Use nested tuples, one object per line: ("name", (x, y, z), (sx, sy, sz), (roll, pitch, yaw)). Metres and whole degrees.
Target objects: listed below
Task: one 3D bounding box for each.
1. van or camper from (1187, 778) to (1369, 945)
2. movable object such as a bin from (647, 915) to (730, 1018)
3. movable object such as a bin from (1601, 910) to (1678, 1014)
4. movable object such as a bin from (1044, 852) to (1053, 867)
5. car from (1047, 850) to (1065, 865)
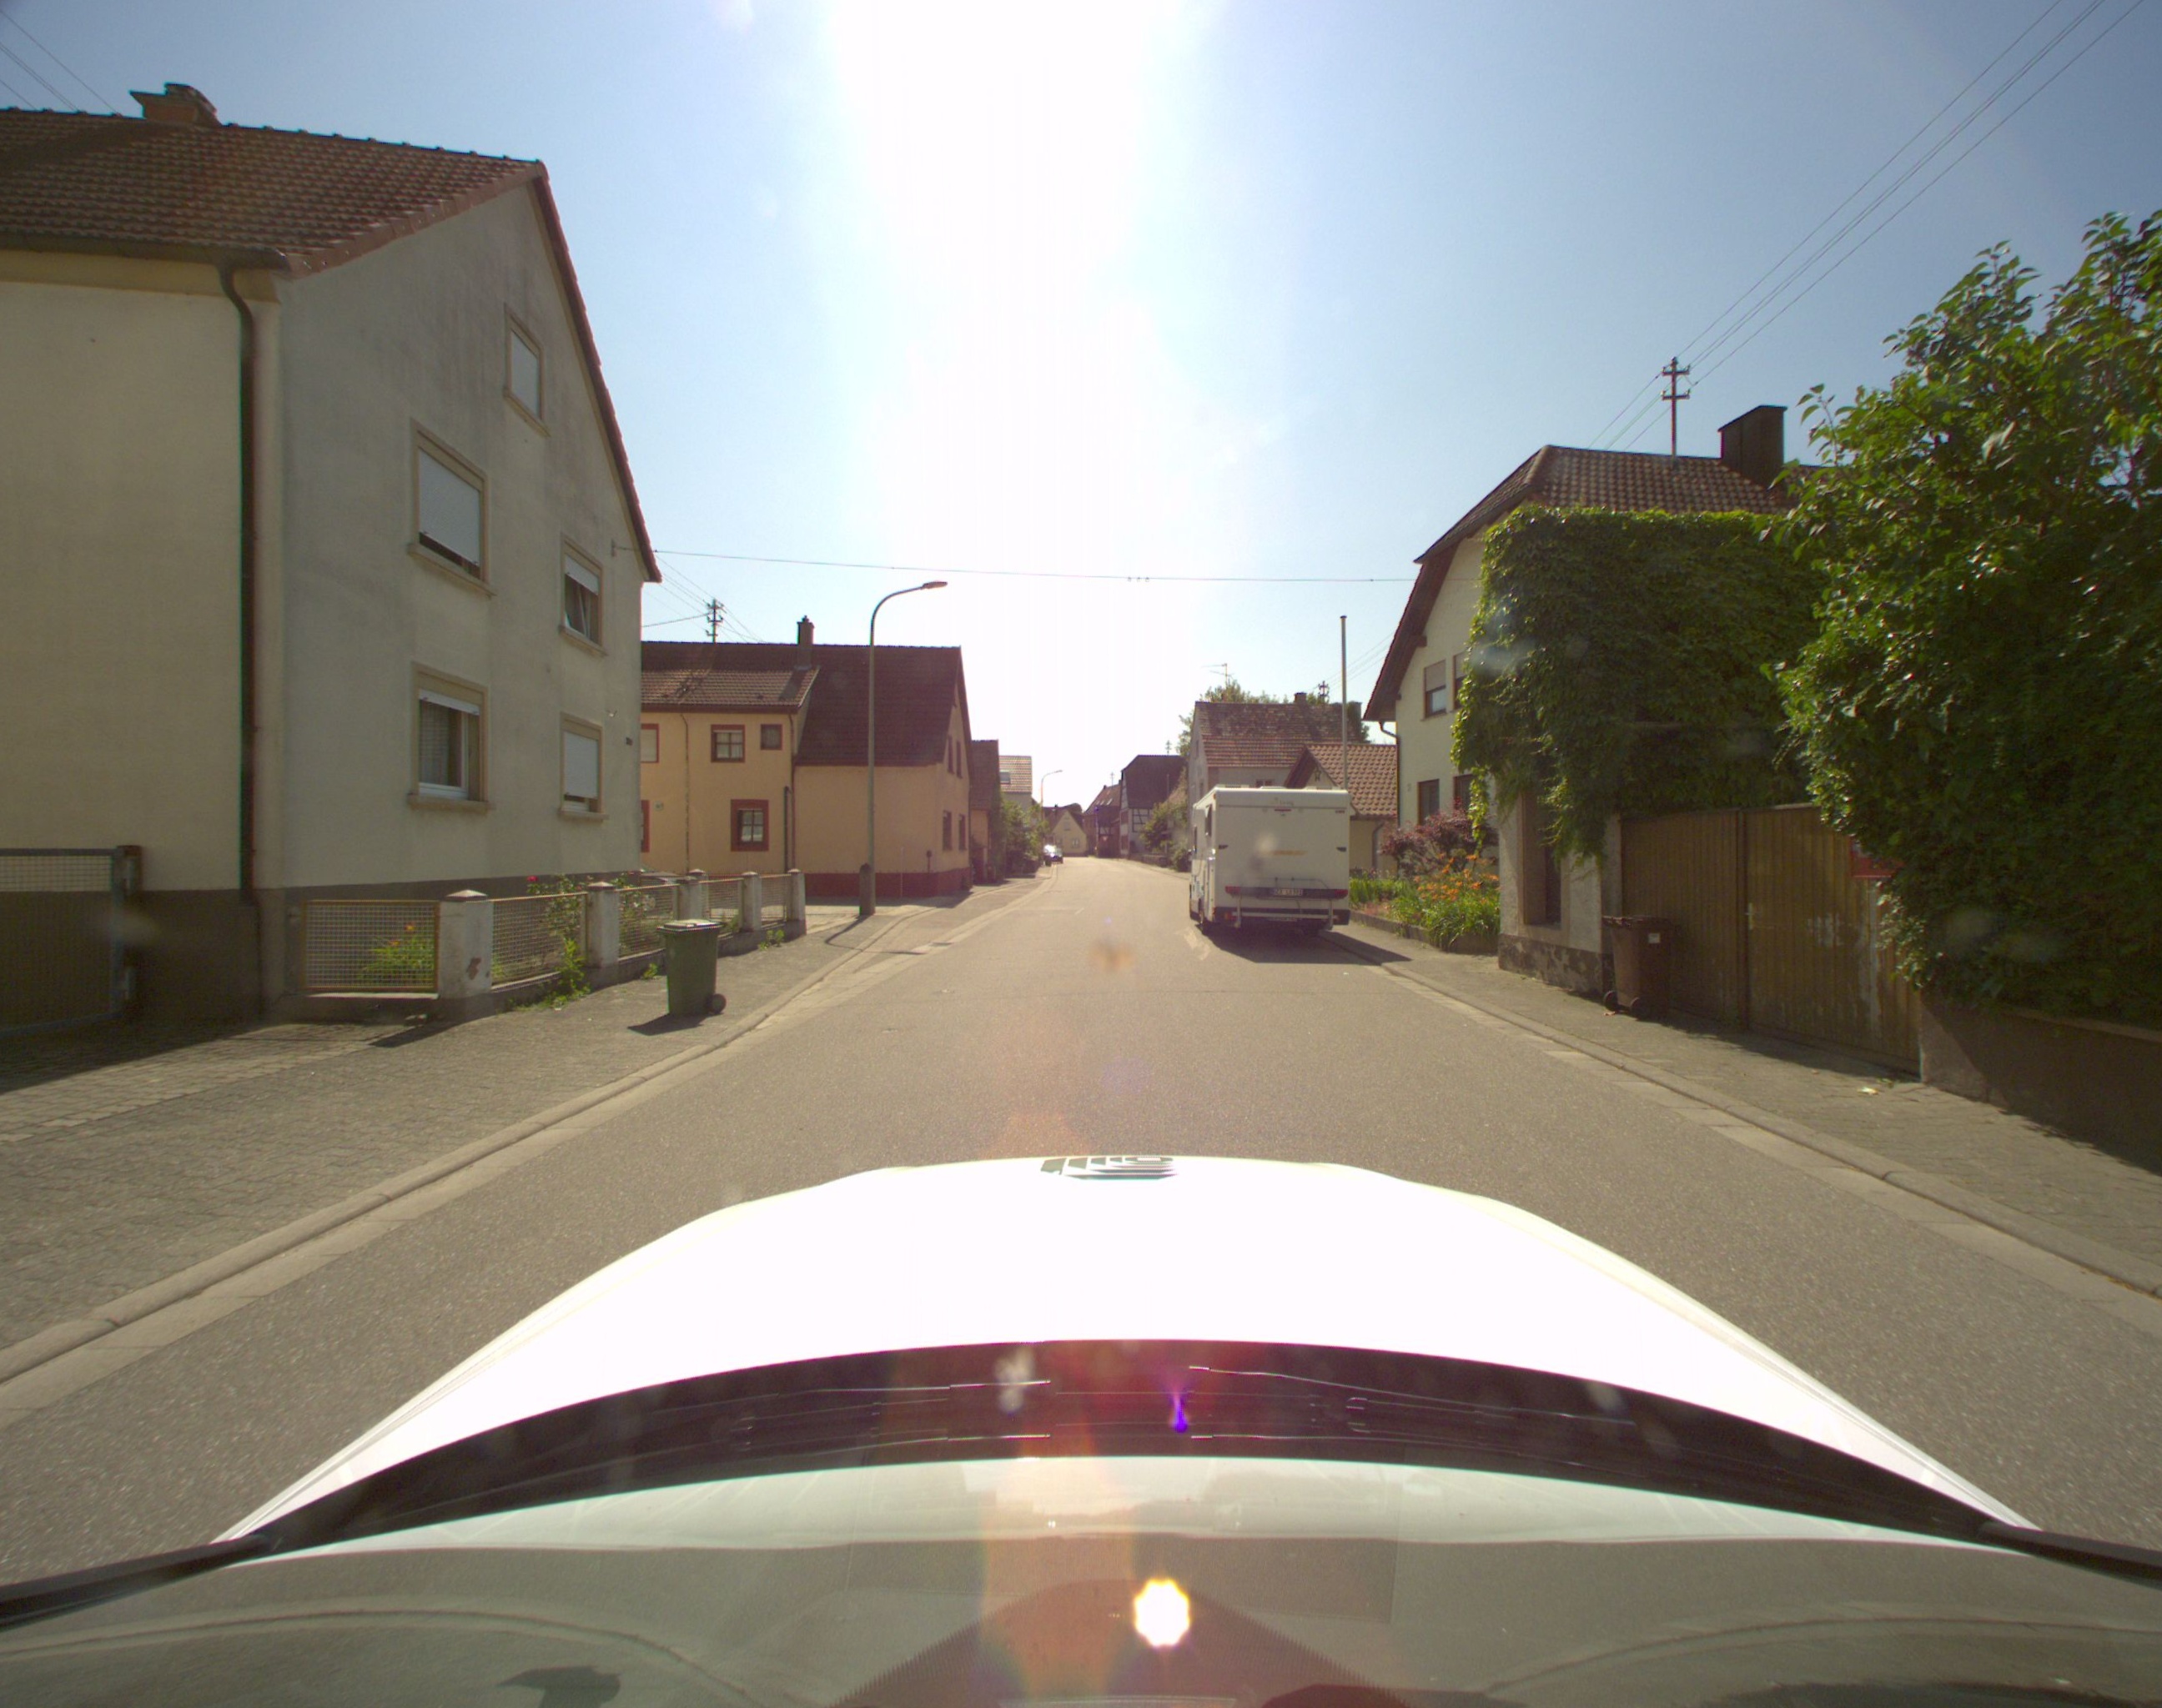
("van or camper", (3.491, 0.118, 15.504), (2.512, 2.697, 4.558), (0, 0, 2))
("movable object such as a bin", (-3.919, 1.113, 8.167), (0.537, 0.949, 0.553), (1, 0, 1))
("movable object such as a bin", (5.236, 1.002, 7.644), (0.411, 0.912, 0.438), (-1, 0, 1))
("movable object such as a bin", (-2.644, 0.436, 66.736), (0.686, 1.185, 0.714), (-1, 0, 1))
("car", (-2.425, 0.305, 79.196), (1.506, 1.436, 3.513), (-1, 0, 2))
